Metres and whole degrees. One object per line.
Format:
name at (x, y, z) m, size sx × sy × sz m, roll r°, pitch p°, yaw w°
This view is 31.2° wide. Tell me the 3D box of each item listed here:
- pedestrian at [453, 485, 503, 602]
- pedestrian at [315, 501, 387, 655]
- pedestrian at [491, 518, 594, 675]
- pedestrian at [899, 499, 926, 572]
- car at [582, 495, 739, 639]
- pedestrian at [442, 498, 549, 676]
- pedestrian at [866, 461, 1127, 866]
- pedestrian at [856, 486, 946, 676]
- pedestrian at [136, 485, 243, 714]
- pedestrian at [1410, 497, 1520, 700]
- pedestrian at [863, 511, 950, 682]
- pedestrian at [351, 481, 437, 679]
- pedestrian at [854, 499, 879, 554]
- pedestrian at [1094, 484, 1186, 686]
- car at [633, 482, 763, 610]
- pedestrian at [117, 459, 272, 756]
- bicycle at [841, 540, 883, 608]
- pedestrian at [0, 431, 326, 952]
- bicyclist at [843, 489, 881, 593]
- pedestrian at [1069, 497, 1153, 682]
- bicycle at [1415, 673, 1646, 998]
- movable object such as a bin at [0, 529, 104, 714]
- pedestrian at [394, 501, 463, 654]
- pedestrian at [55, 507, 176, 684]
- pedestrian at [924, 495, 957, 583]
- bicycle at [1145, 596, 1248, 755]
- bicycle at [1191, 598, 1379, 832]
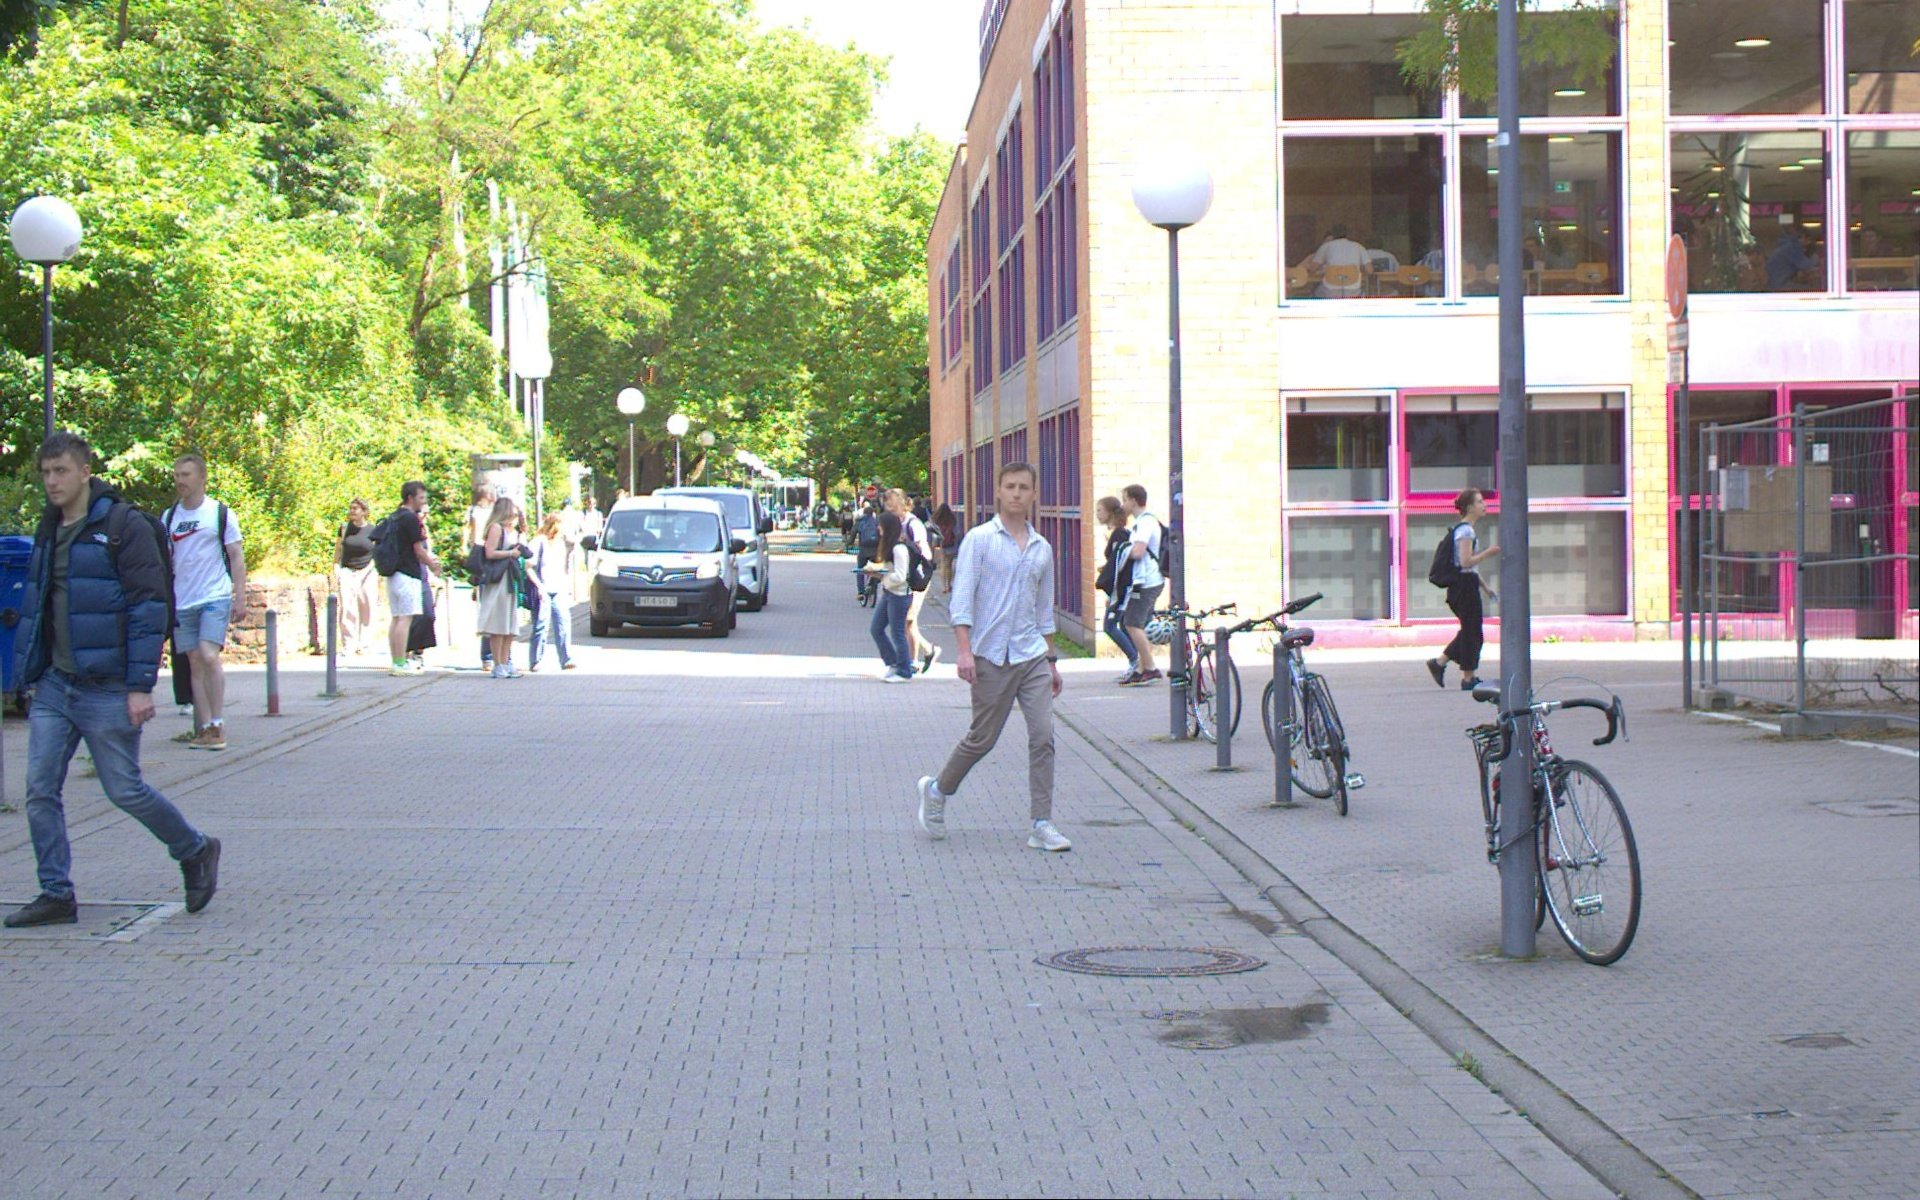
pedestrian at (-7.642, -0.899, 54.508) m, size 0.682 × 1.838 × 0.783 m, roll 1°, pitch 1°, yaw -2°
pedestrian at (-6.475, -0.235, 36.596) m, size 0.682 × 1.615 × 0.979 m, roll 1°, pitch 1°, yaw -6°
pedestrian at (-4.131, -0.045, 34.080) m, size 0.886 × 1.537 × 0.743 m, roll 0°, pitch 1°, yaw 4°
pedestrian at (-1.108, -1.498, 79.797) m, size 0.586 × 1.667 × 0.817 m, roll -1°, pitch 0°, yaw 0°
car at (-3.821, -0.470, 44.515) m, size 1.790 × 1.755 × 4.482 m, roll 0°, pitch 2°, yaw -2°
pedestrian at (-4.405, -0.124, 32.645) m, size 0.886 × 1.667 × 0.559 m, roll 1°, pitch 1°, yaw 6°
pedestrian at (0.161, 0.273, 16.276) m, size 0.783 × 1.839 × 1.118 m, roll 0°, pitch 1°, yaw -26°
pedestrian at (-0.579, -0.191, 33.688) m, size 0.825 × 1.838 × 0.685 m, roll 1°, pitch 1°, yaw -4°
pedestrian at (-5.917, -0.011, 26.424) m, size 0.682 × 1.722 × 1.002 m, roll 0°, pitch 1°, yaw -6°
pedestrian at (4.156, -0.019, 28.334) m, size 0.852 × 1.645 × 0.588 m, roll 1°, pitch 1°, yaw 6°
pedestrian at (-0.513, -0.038, 32.897) m, size 0.780 × 1.615 × 0.685 m, roll 1°, pitch 1°, yaw -4°
pedestrian at (-5.331, -0.191, 32.399) m, size 0.682 × 1.838 × 0.783 m, roll 1°, pitch 1°, yaw -2°
pedestrian at (-2.860, -2.250, 105.443) m, size 0.725 × 1.667 × 0.748 m, roll -1°, pitch 0°, yaw 0°
pedestrian at (1.625, -0.136, 30.917) m, size 0.767 × 1.788 × 0.588 m, roll -1°, pitch 0°, yaw 6°
car at (-4.178, -0.912, 55.514) m, size 1.883 × 1.967 × 5.215 m, roll 0°, pitch 2°, yaw -2°
pedestrian at (-4.955, 0.041, 22.298) m, size 0.724 × 1.875 × 1.082 m, roll 1°, pitch 1°, yaw 2°
bicycle at (-1.637, -0.441, 57.175) m, size 0.587 × 1.080 × 1.908 m, roll 0°, pitch 2°, yaw -5°
pedestrian at (-3.074, 0.310, 12.888) m, size 0.887 × 1.851 × 1.030 m, roll 2°, pitch 1°, yaw 30°
bicyclist at (-1.639, -0.986, 57.183) m, size 0.587 × 1.710 × 0.665 m, roll 0°, pitch 1°, yaw -5°
pedestrian at (1.389, -0.094, 31.564) m, size 0.697 × 1.667 × 0.588 m, roll -1°, pitch 0°, yaw 6°
bicycle at (1.920, 0.763, 11.733) m, size 0.395 × 0.932 × 1.732 m, roll -2°, pitch 2°, yaw -3°
movable object such as a bin at (-7.070, 0.144, 25.975) m, size 0.709 × 1.332 × 1.239 m, roll 3°, pitch 2°, yaw 8°
pedestrian at (-5.692, -0.245, 36.871) m, size 0.682 × 1.615 × 0.914 m, roll 1°, pitch 1°, yaw -6°
pedestrian at (-7.789, -0.045, 31.716) m, size 0.916 × 1.605 × 0.570 m, roll 1°, pitch 1°, yaw 25°
pedestrian at (-0.378, -1.167, 65.771) m, size 0.586 × 1.667 × 0.699 m, roll -1°, pitch 0°, yaw 0°
bicycle at (1.571, 0.486, 23.040) m, size 0.450 × 0.958 × 1.740 m, roll -3°, pitch 2°, yaw -3°
bicycle at (1.632, 0.556, 17.498) m, size 0.708 × 1.089 × 1.749 m, roll 0°, pitch 1°, yaw -3°
